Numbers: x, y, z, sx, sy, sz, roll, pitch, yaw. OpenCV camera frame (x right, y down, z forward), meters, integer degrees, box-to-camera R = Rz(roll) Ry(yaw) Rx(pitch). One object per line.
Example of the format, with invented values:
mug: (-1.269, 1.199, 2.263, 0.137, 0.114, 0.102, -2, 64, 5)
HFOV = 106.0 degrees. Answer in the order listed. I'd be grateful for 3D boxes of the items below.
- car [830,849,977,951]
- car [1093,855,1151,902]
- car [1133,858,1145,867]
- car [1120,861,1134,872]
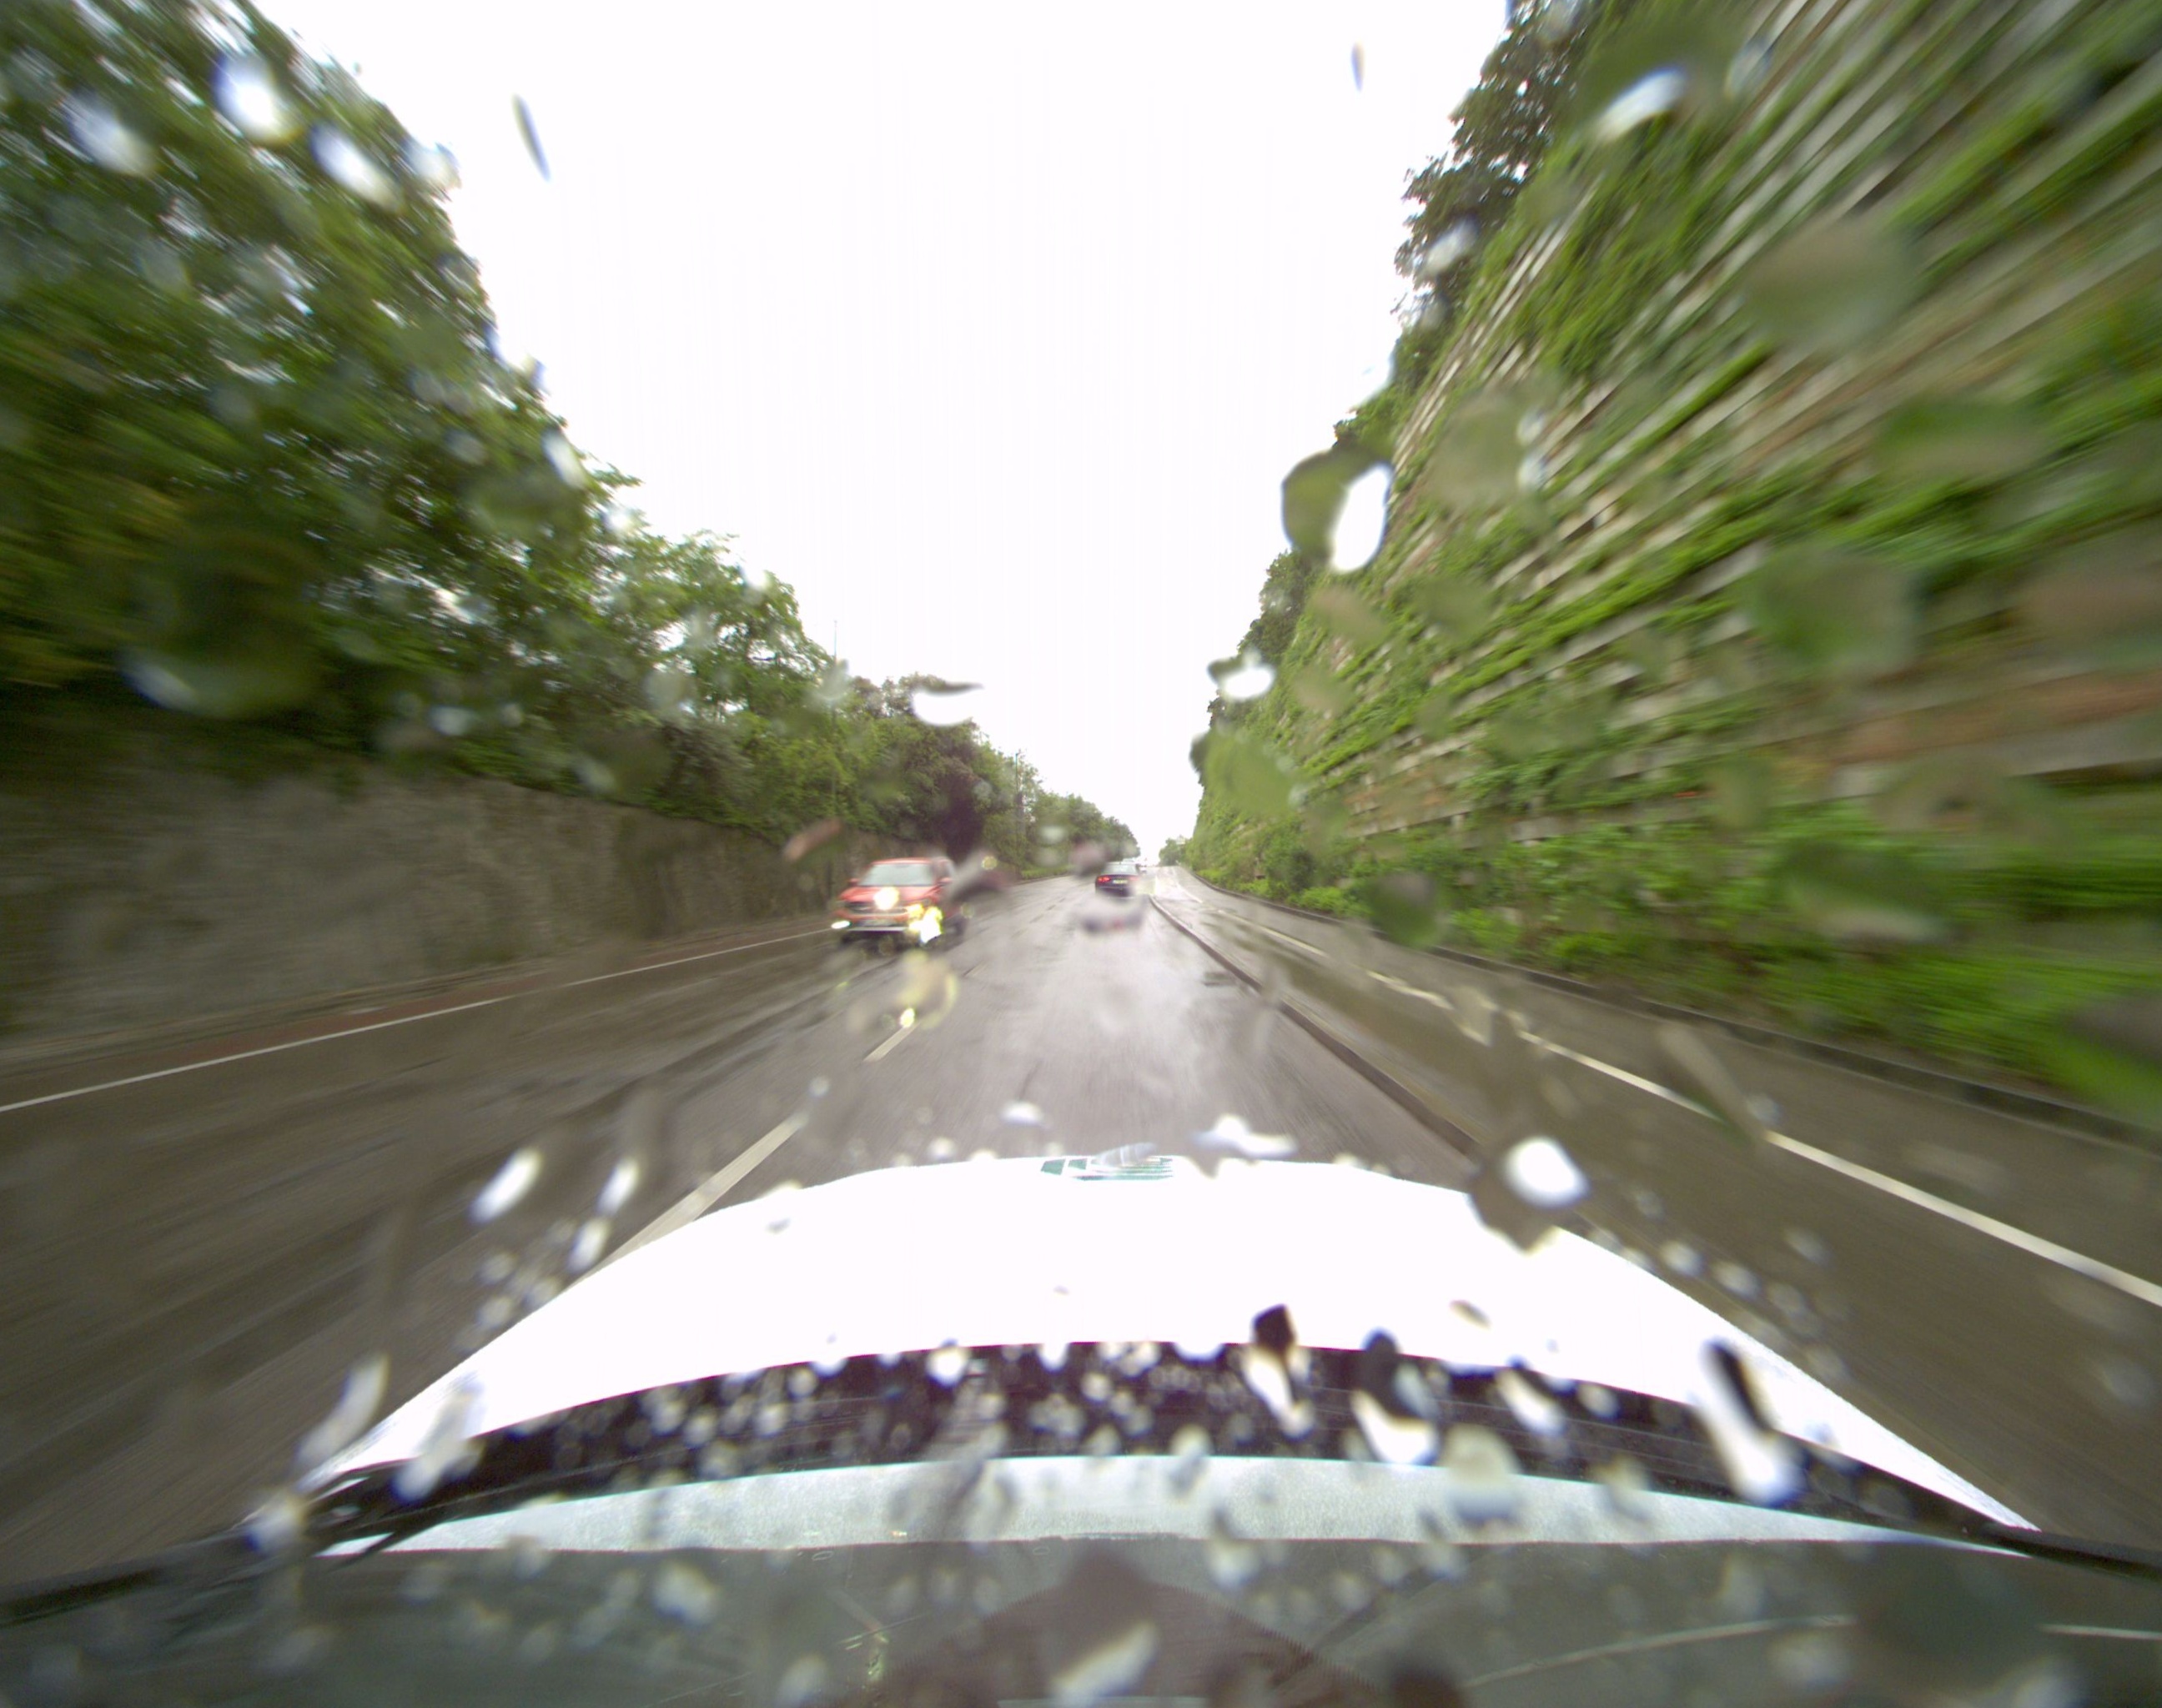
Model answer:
car: (-3.204, 0.797, 15.501, 1.726, 1.618, 4.002, -2, -1, 2)
car: (1.506, 0.868, 29.779, 1.885, 1.492, 4.210, -2, -1, 3)
car: (10.508, 1.575, 147.199, 1.813, 1.615, 4.101, -2, -1, 7)
car: (6.735, 1.816, 117.851, 1.856, 1.449, 4.382, -2, -1, 4)
